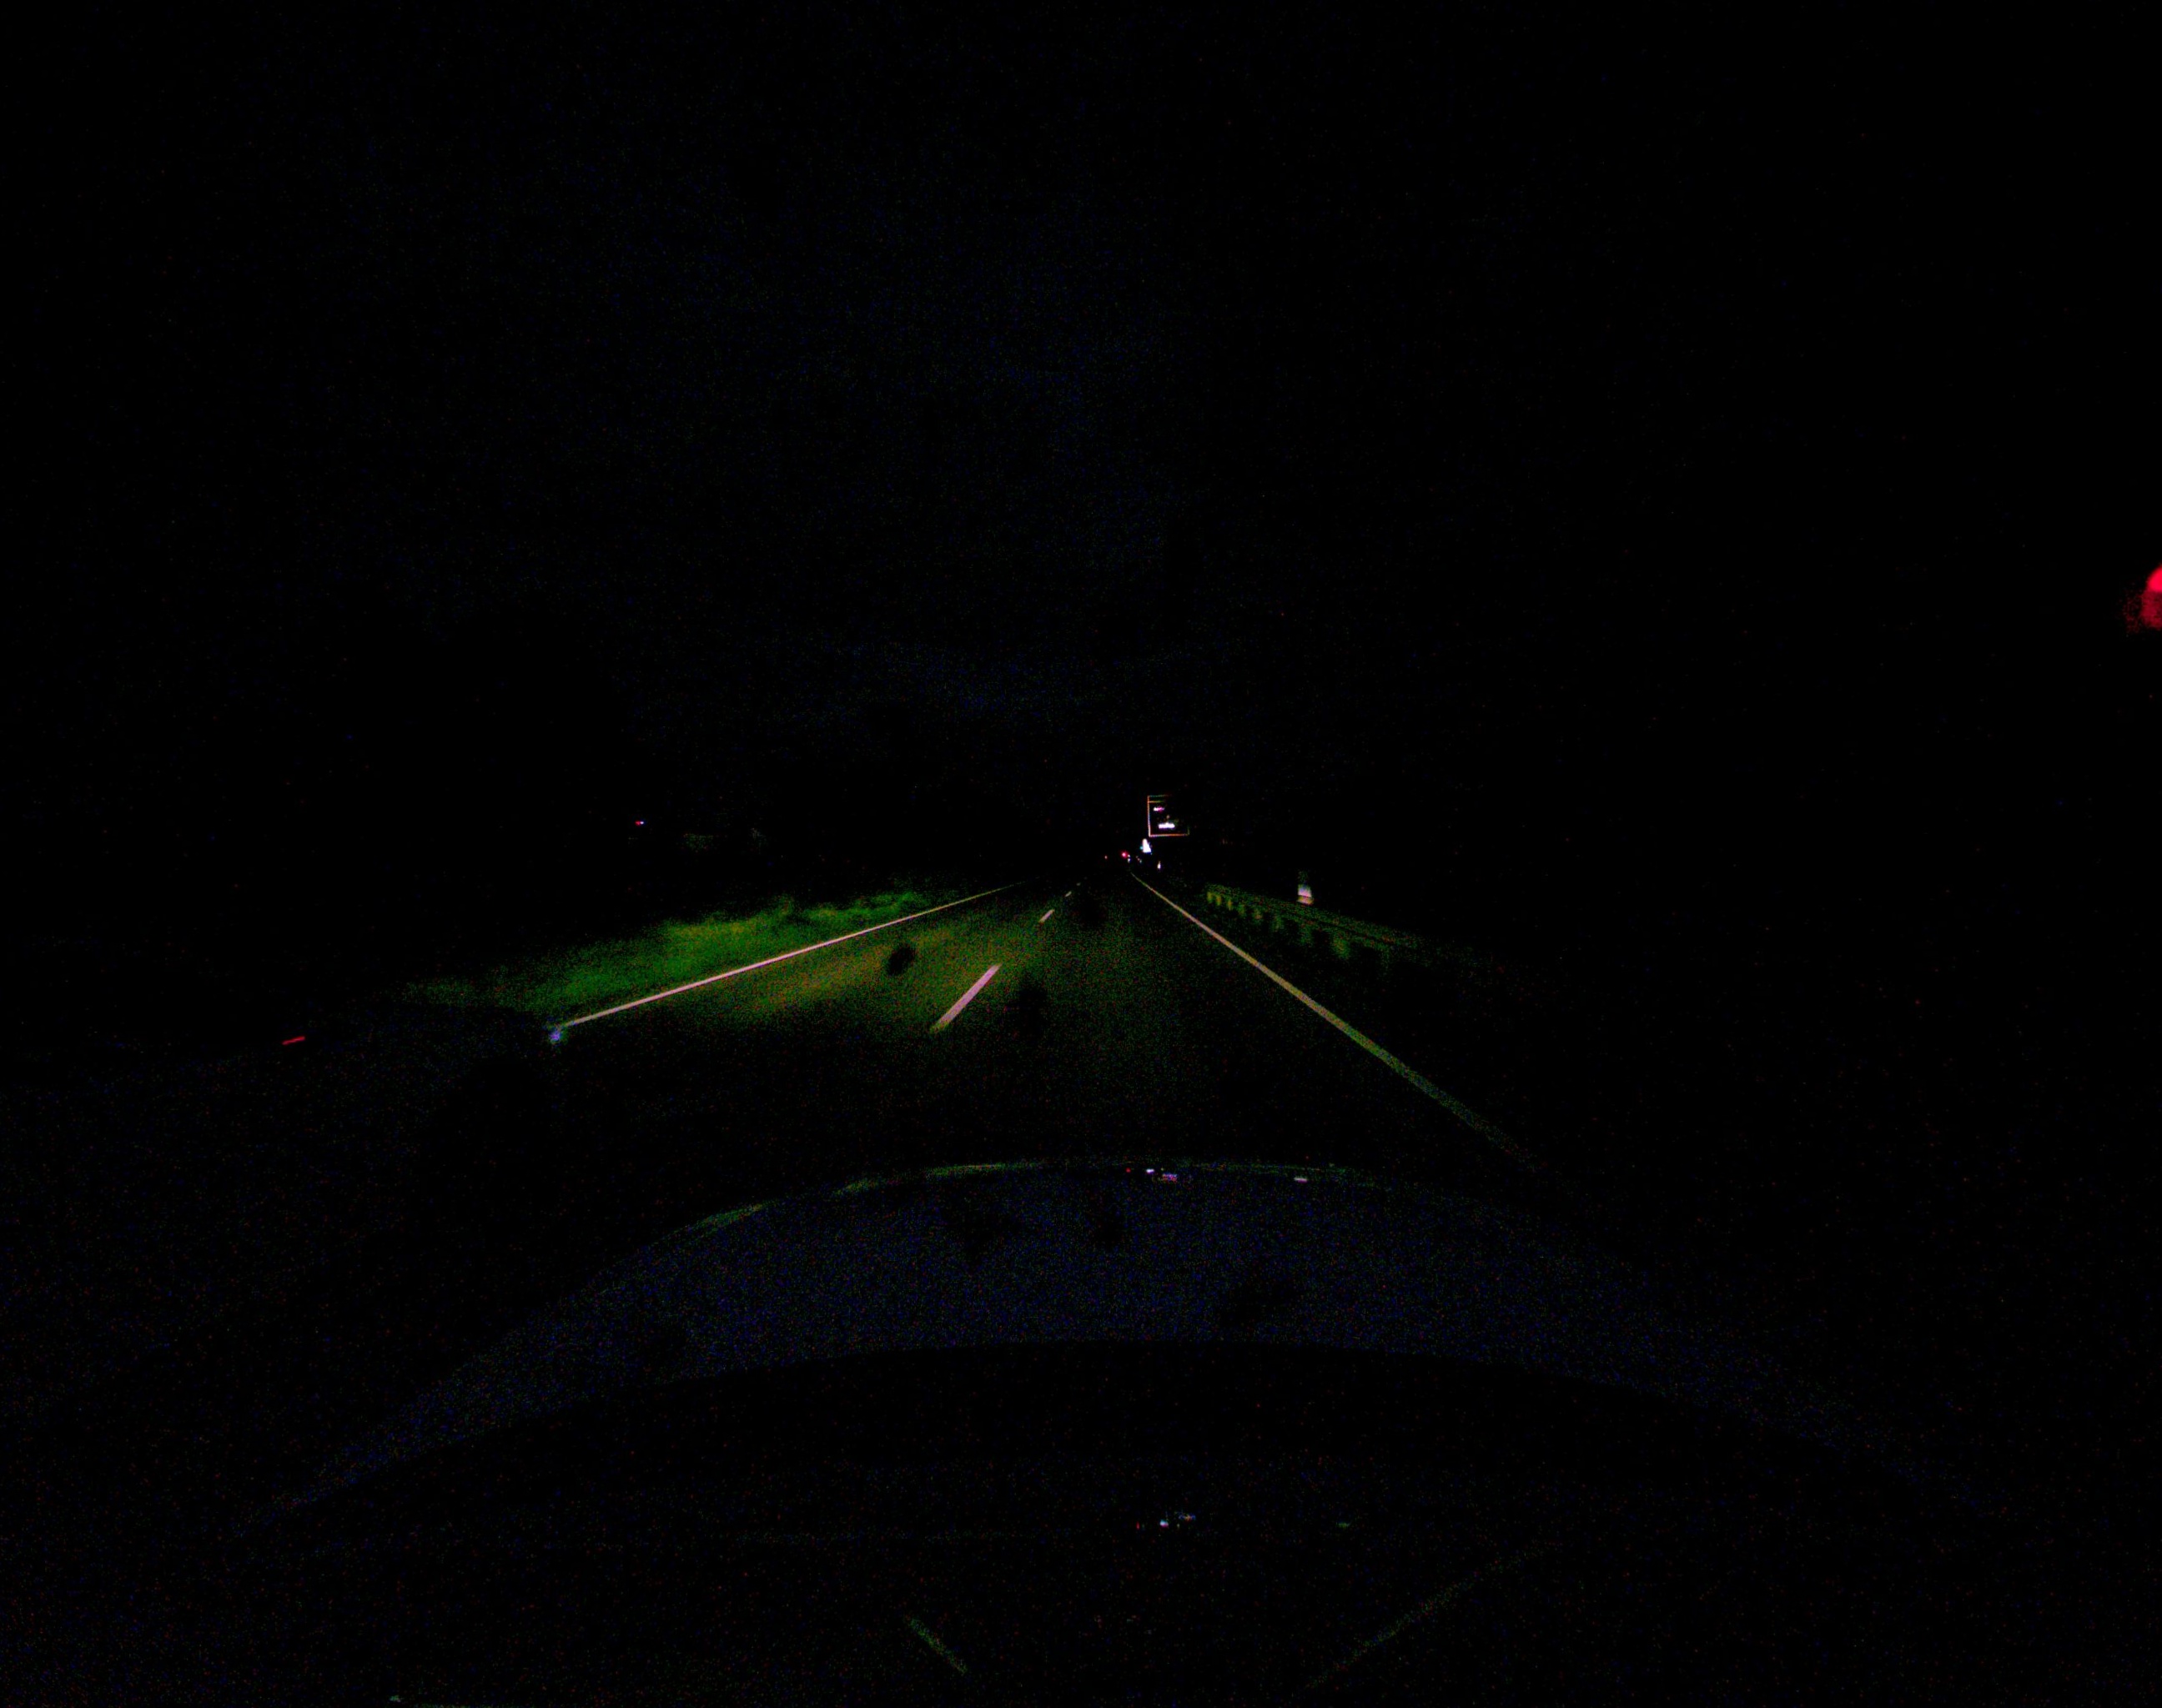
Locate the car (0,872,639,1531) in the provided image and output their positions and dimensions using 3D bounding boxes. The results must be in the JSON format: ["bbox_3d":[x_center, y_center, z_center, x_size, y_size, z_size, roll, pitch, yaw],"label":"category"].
[{"bbox_3d":[-3.341,0.847,2.267,1.636,1.490,4.580,-1,0,1],"label":"car"}]

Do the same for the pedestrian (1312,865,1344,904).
[{"bbox_3d":[10.673,1.297,35.251,1.058,1.643,1.119,-1,-1,2],"label":"pedestrian"}]
